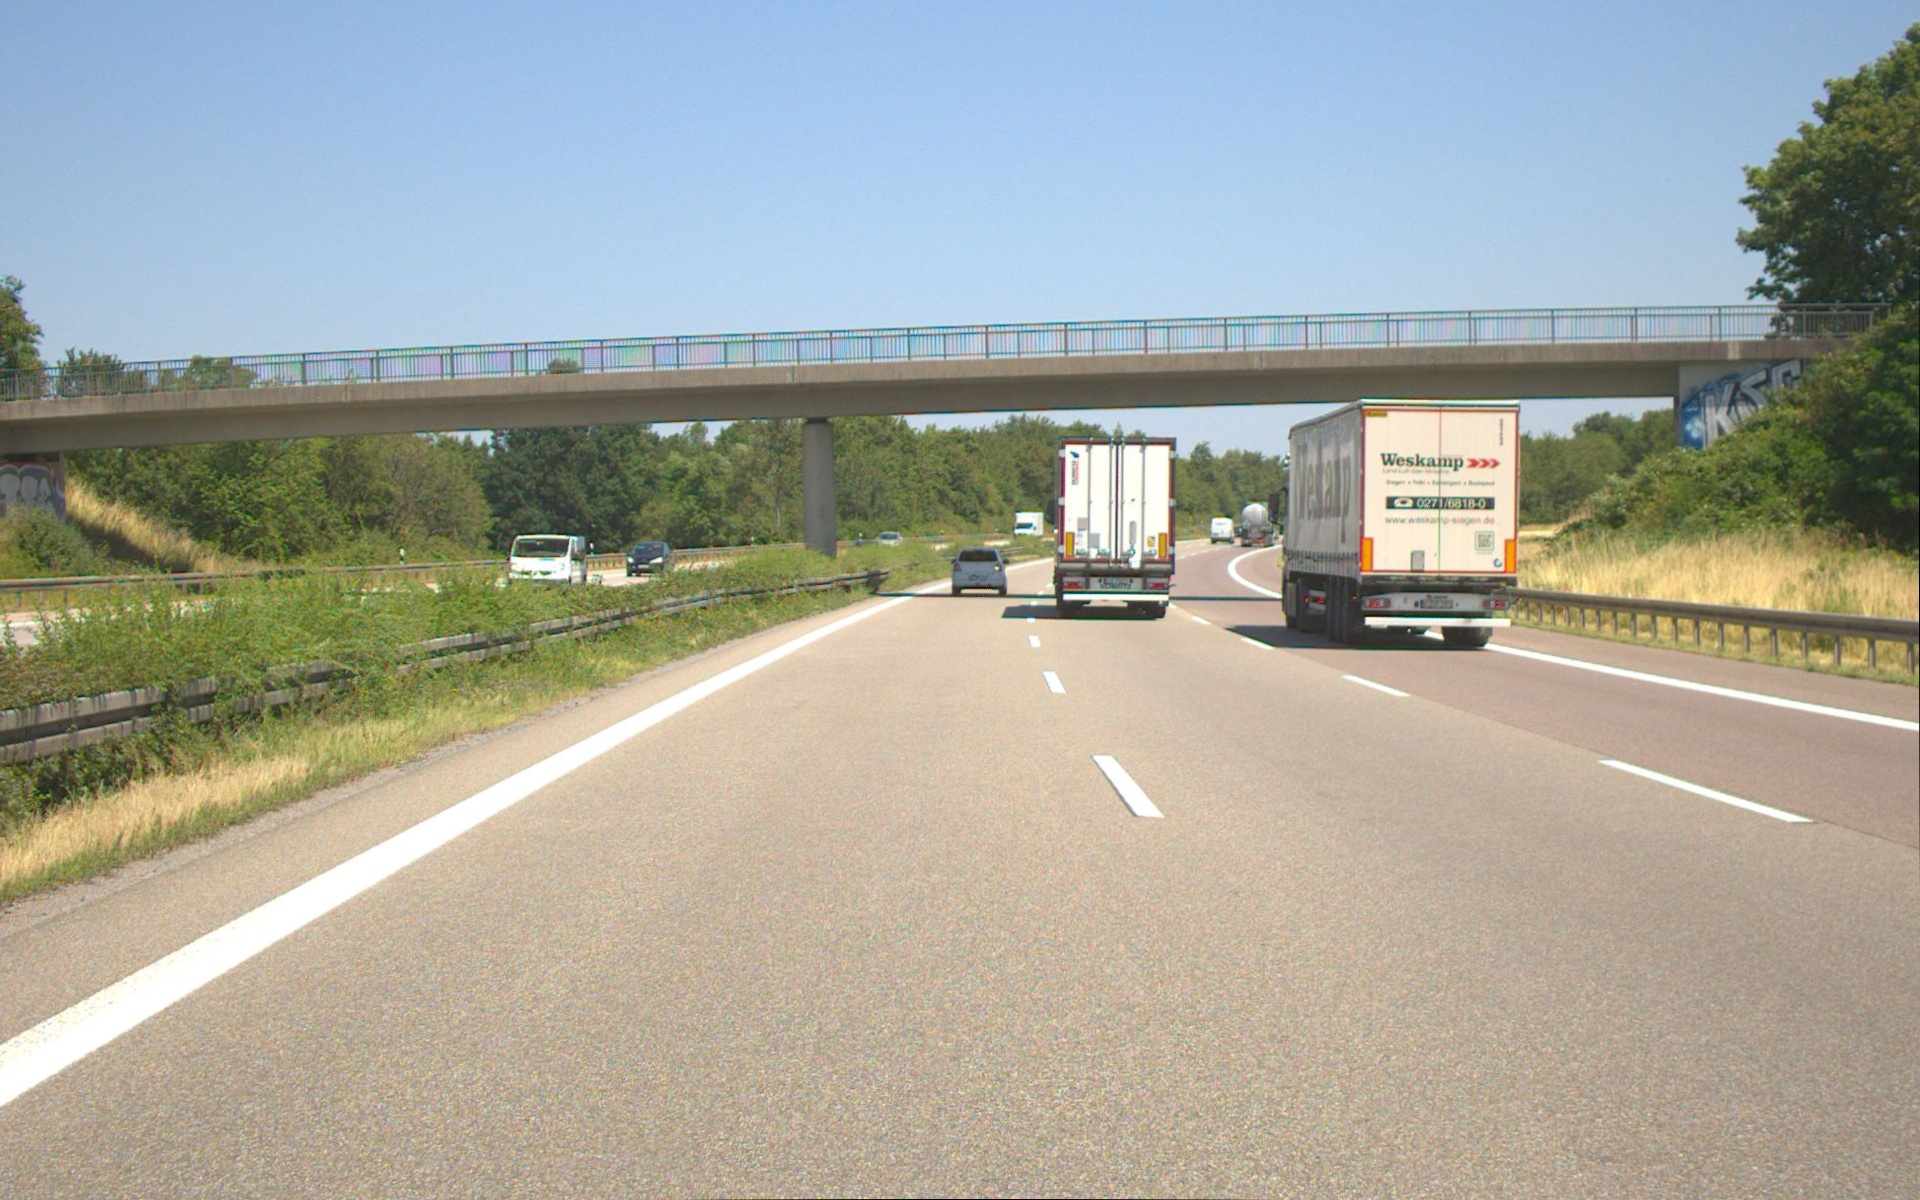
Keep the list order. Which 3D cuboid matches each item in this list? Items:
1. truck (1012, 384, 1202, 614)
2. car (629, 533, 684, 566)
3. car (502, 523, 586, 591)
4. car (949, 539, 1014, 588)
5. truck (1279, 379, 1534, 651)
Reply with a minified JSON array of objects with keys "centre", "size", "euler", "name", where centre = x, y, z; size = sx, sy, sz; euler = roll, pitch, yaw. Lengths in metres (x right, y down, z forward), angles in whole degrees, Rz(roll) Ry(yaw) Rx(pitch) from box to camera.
[{"centre":[3.345,-2.426,83.377],"size":[3.666,5.001,16.019],"euler":[0,1,-1],"name":"truck"},{"centre":[-13.731,-2.286,155.743],"size":[1.828,1.456,4.318],"euler":[1,1,4],"name":"car"},{"centre":[-12.764,-1.319,105.697],"size":[1.828,2.007,5.330],"euler":[1,1,1],"name":"car"},{"centre":[0.699,-1.181,110.370],"size":[1.828,1.542,4.319],"euler":[1,1,4],"name":"car"},{"centre":[7.830,-1.560,62.551],"size":[3.181,4.289,16.017],"euler":[0,1,2],"name":"truck"}]
